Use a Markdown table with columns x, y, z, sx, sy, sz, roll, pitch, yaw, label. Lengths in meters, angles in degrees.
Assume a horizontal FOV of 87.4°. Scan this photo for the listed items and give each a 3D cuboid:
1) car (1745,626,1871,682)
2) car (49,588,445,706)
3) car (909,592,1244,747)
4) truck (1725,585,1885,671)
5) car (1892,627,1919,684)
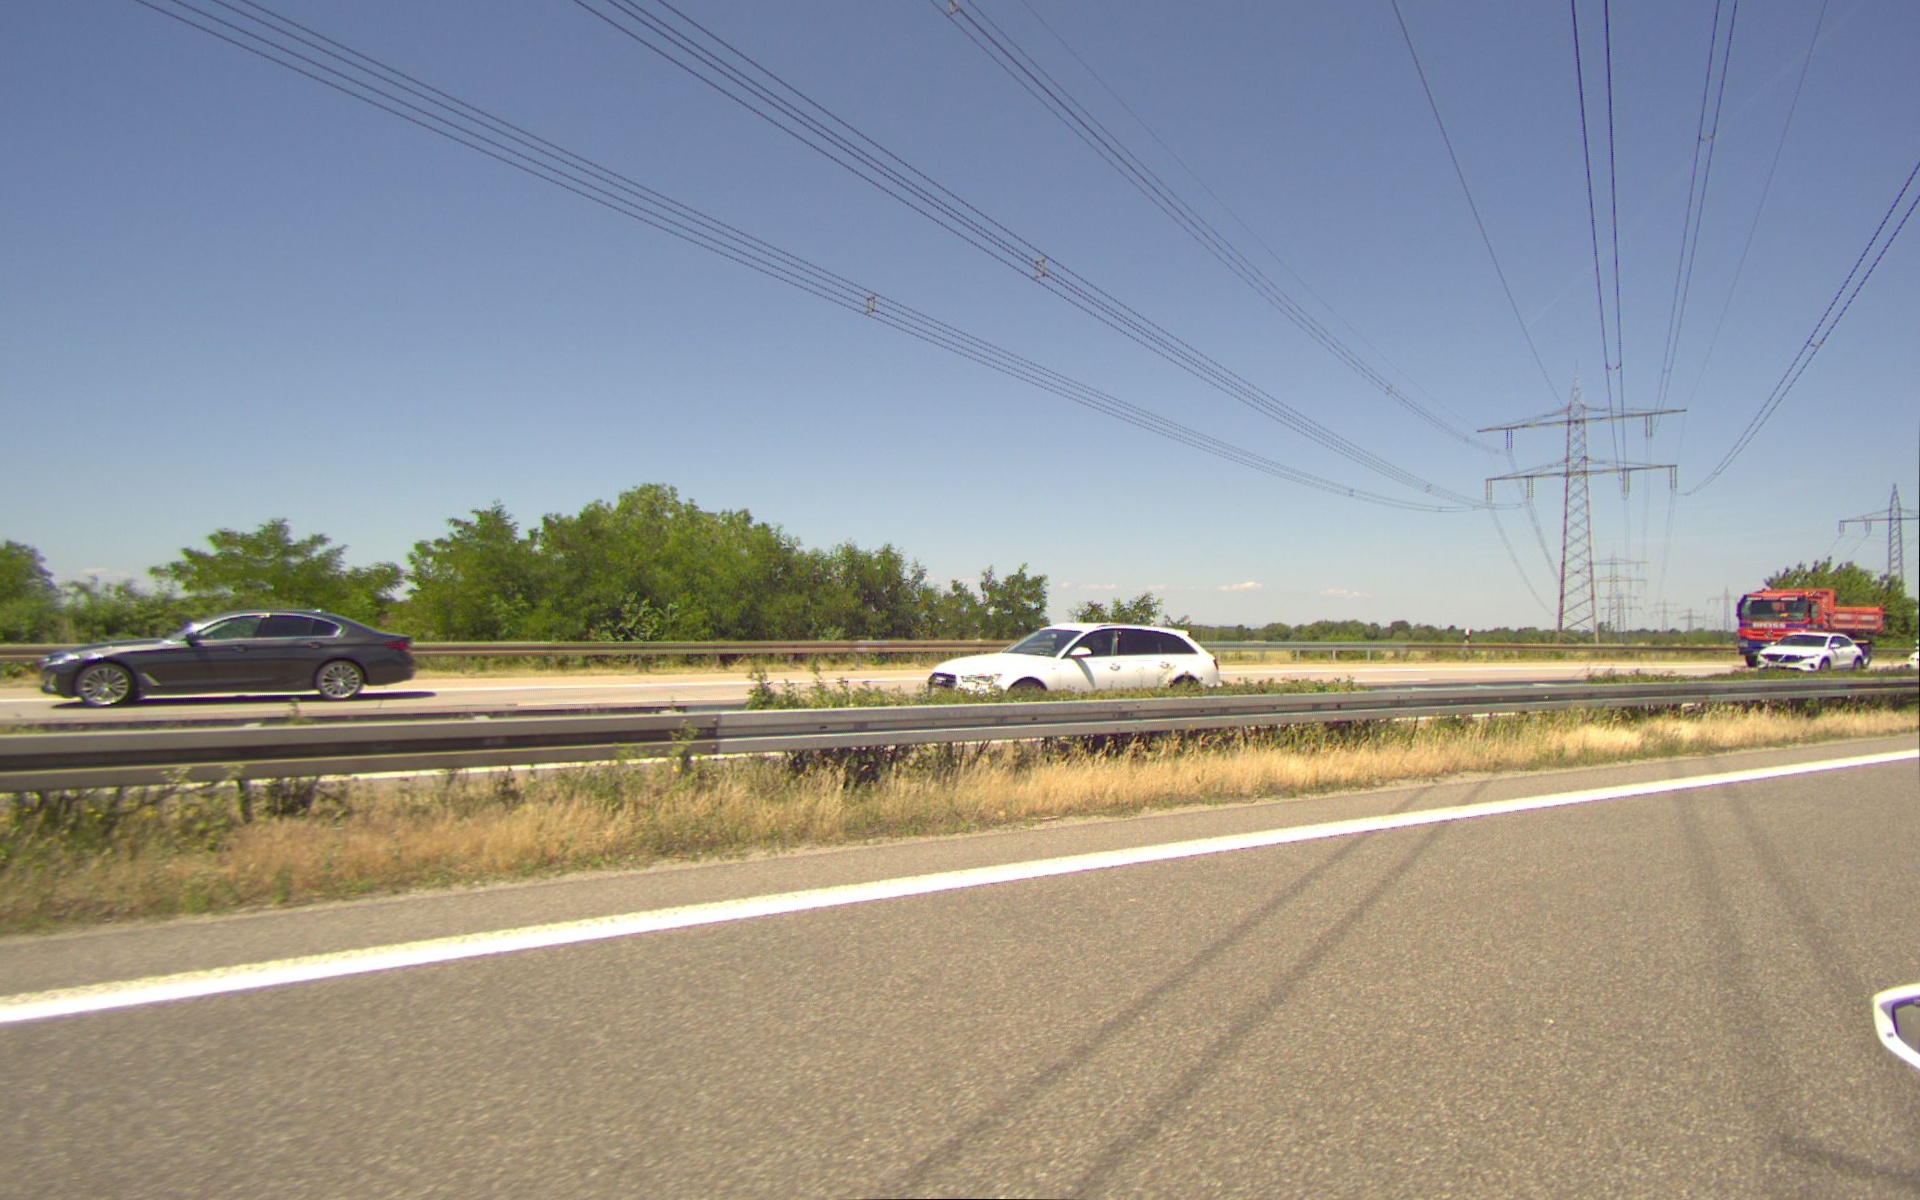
| x | y | z | sx | sy | sz | roll | pitch | yaw | label |
| --- | --- | --- | --- | --- | --- | --- | --- | --- | --- |
| 29.908 | 1.857 | 35.426 | 4.481 | 1.784 | 1.984 | 1 | 0 | -30 | car |
| -11.414 | 0.756 | 16.591 | 5.032 | 1.683 | 1.983 | 2 | -2 | -32 | car |
| 1.840 | 0.953 | 15.347 | 4.862 | 2.040 | 1.984 | 1 | 0 | -30 | car |
| 38.122 | 1.272 | 45.229 | 8.432 | 3.574 | 2.757 | 2 | 0 | -30 | truck |
| 33.730 | 1.881 | 33.971 | 4.481 | 1.877 | 1.984 | 1 | 0 | -30 | car |
